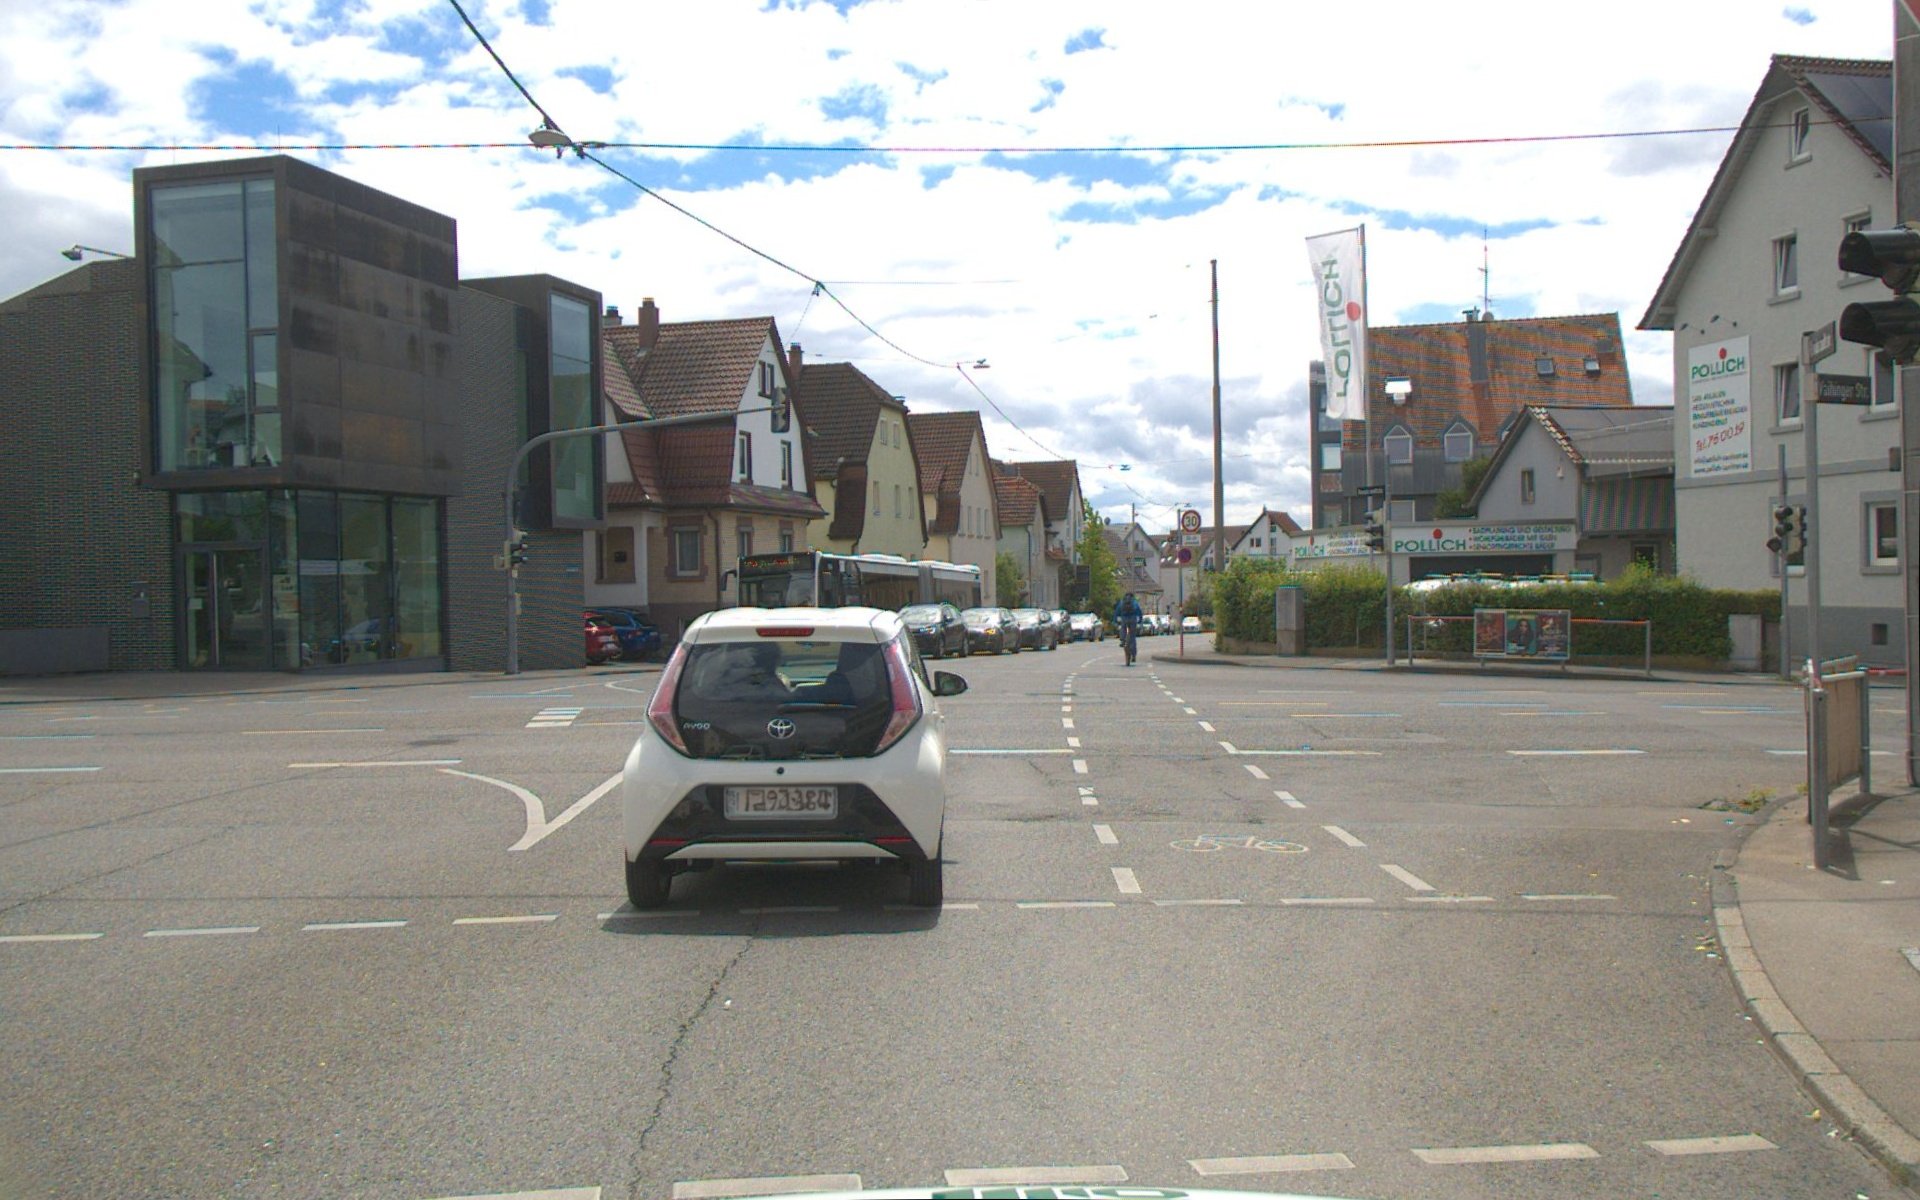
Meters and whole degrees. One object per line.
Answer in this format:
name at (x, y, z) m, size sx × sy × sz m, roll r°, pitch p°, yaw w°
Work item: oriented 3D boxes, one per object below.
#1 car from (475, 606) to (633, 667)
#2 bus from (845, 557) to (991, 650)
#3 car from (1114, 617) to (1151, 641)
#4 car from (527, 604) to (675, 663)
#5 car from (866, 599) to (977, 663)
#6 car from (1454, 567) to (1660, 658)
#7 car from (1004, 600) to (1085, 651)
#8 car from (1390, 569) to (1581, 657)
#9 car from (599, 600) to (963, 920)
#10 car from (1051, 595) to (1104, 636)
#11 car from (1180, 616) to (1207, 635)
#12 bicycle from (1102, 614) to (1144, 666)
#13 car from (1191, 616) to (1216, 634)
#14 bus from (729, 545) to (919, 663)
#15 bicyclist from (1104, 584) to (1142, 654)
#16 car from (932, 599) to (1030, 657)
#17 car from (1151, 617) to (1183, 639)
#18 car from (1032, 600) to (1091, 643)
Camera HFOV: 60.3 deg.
car at (-11.557, 1.017, 47.199) m, size 3.902 × 1.668 × 2.002 m, roll 0°, pitch 0°, yaw 12°
bus at (-1.288, 0.091, 57.738) m, size 2.718 × 2.965 × 9.198 m, roll 0°, pitch 0°, yaw 14°
car at (12.239, 2.038, 117.112) m, size 1.951 × 1.668 × 4.003 m, roll 0°, pitch 0°, yaw 16°
car at (-10.855, 0.997, 50.091) m, size 3.902 × 1.713 × 2.002 m, roll 0°, pitch 0°, yaw 12°
car at (-1.010, 0.823, 45.629) m, size 1.951 × 1.668 × 4.003 m, roll 0°, pitch 0°, yaw 16°
car at (13.439, 0.265, 37.327) m, size 3.915 × 1.982 × 1.995 m, roll 0°, pitch 0°, yaw -11°
car at (2.982, 0.858, 57.613) m, size 1.951 × 1.668 × 4.003 m, roll 0°, pitch 0°, yaw 16°
car at (12.649, 0.303, 39.928) m, size 3.914 × 2.049 × 1.995 m, roll 0°, pitch 0°, yaw -10°
car at (-0.843, 0.751, 9.543) m, size 1.703 × 1.486 × 3.532 m, roll 0°, pitch 0°, yaw 0°
car at (6.110, 0.790, 85.889) m, size 1.951 × 2.049 × 4.003 m, roll 0°, pitch 0°, yaw 16°
car at (21.611, 2.372, 153.291) m, size 1.951 × 1.668 × 4.003 m, roll 0°, pitch 0°, yaw 16°
bicycle at (3.930, 0.951, 39.928) m, size 0.815 × 1.184 × 2.192 m, roll 0°, pitch 0°, yaw 1°
car at (24.037, 2.461, 163.002) m, size 1.951 × 1.668 × 4.003 m, roll 0°, pitch 0°, yaw 16°
bus at (-3.738, 0.087, 48.265) m, size 2.718 × 3.114 × 9.198 m, roll 0°, pitch 0°, yaw 14°
bicyclist at (3.921, 0.449, 39.900) m, size 0.823 × 1.642 × 1.083 m, roll 0°, pitch 0°, yaw 1°
car at (0.689, 0.813, 50.575) m, size 1.951 × 1.668 × 4.186 m, roll 0°, pitch 0°, yaw 16°
car at (16.505, 2.176, 131.626) m, size 1.951 × 1.668 × 4.003 m, roll 0°, pitch 0°, yaw 16°
car at (5.070, 1.044, 82.039) m, size 1.952 × 2.049 × 4.002 m, roll -1°, pitch 0°, yaw 18°
